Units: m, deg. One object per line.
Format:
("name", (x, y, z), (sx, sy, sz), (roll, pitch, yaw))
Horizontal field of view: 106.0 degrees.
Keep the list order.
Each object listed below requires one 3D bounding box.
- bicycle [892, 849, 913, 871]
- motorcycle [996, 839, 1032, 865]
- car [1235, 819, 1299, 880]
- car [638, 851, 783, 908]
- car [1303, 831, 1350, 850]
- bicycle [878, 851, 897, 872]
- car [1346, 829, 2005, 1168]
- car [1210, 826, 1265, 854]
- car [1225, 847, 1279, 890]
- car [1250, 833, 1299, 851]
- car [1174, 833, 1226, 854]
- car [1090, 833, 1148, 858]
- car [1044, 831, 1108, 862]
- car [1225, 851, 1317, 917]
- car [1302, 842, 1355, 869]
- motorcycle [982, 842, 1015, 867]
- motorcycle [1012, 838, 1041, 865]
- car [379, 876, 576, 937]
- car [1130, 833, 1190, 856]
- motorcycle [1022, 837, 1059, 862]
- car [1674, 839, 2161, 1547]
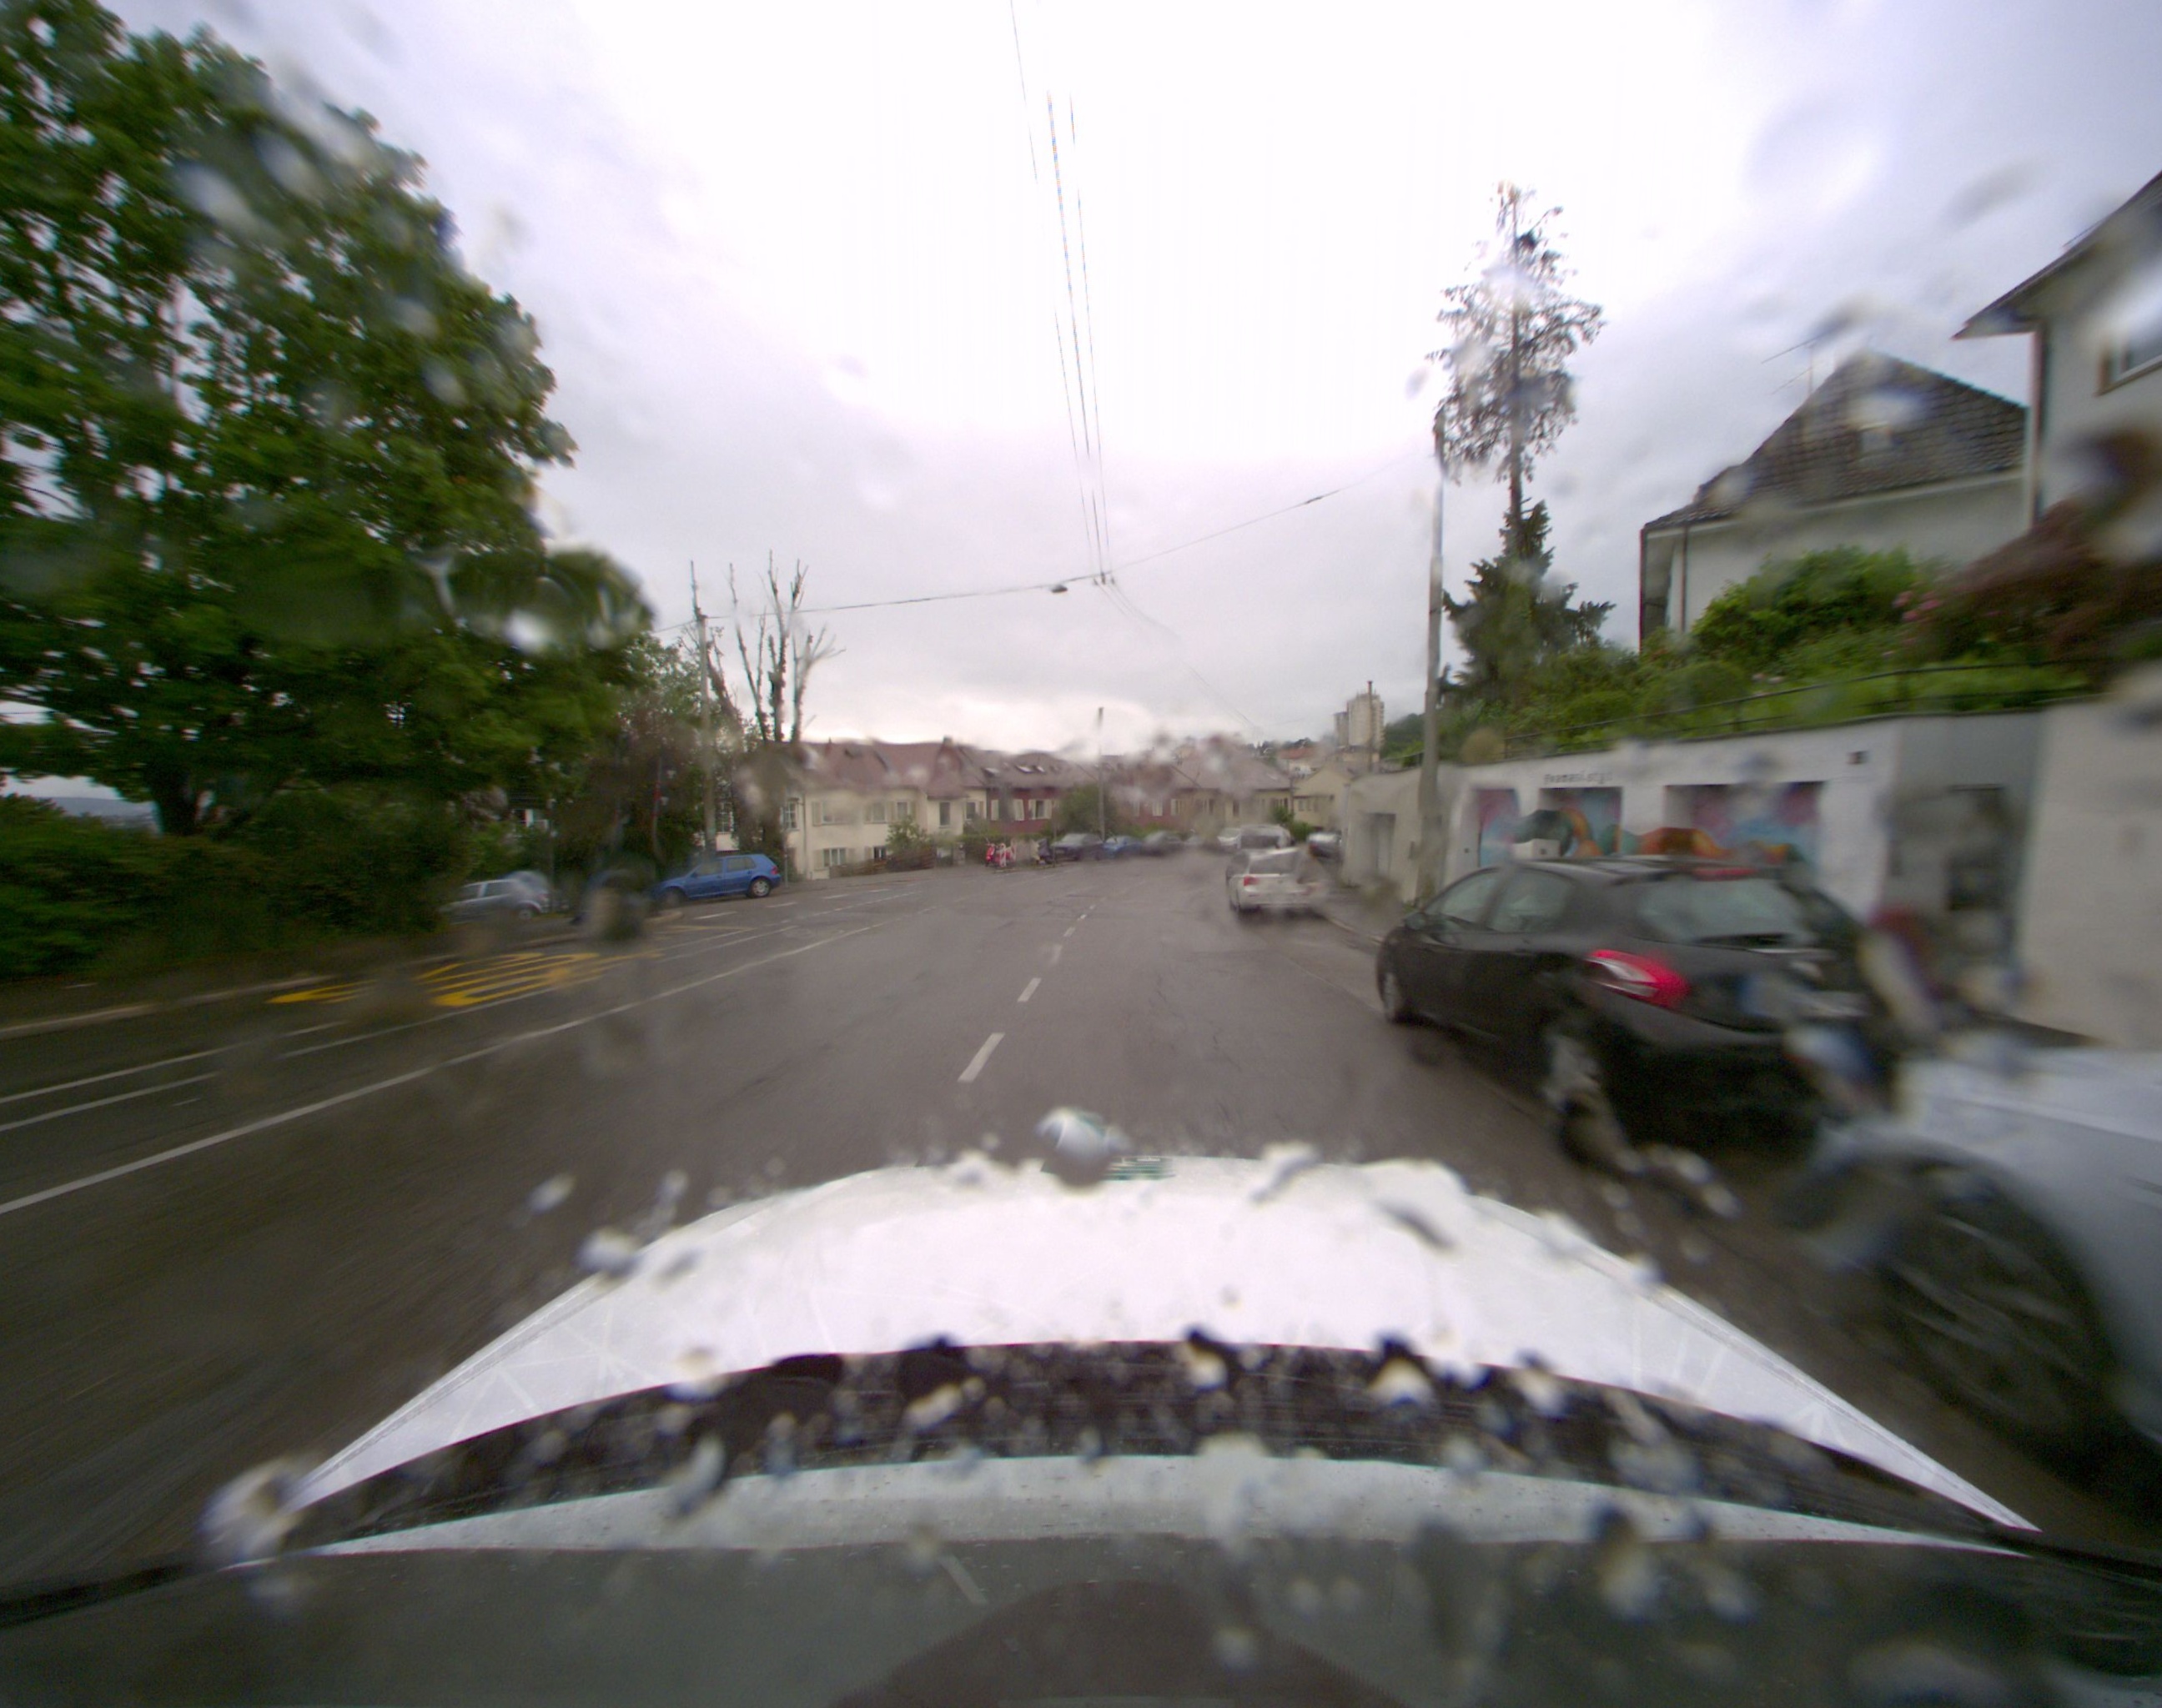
("bicycle", (-9.024, 0.312, 41.175), (1.287, 1.035, 0.307), (-4, -4, 42))
("motorcycle", (-3.412, -0.115, 41.526), (1.785, 1.279, 0.514), (2, 3, 25))
("car", (8.489, -0.197, 36.839), (2.081, 2.542, 5.648), (0, 0, 20))
("car", (-11.666, 0.783, 25.727), (3.956, 1.666, 1.823), (0, -1, -33))
("car", (22.758, -1.202, 75.457), (4.703, 1.630, 1.913), (0, 3, -42))
("bicycle", (-10.007, 0.387, 42.163), (1.311, 1.035, 0.307), (-4, -4, 44))
("car", (3.368, 0.656, 5.716), (1.708, 1.513, 4.000), (-1, 0, 0))
("car", (12.676, -1.151, 65.743), (1.831, 2.078, 5.051), (5, 4, 44))
("car", (6.646, 0.487, 31.413), (1.740, 1.495, 4.202), (0, 1, 16))
("car", (16.654, -1.029, 69.977), (4.547, 1.476, 1.793), (0, 4, -43))
("car", (8.986, -0.801, 61.181), (1.791, 1.476, 4.551), (4, 3, 38))
("car", (2.497, -0.557, 52.157), (1.683, 1.404, 4.501), (4, 4, 31))
("car", (-0.220, -0.480, 47.623), (1.904, 1.576, 4.414), (4, 3, 26))
("car", (4.442, 0.650, 19.547), (1.696, 1.414, 4.049), (0, 0, 6))
("car", (15.251, 0.061, 50.111), (1.662, 1.483, 4.228), (4, 3, 38))
("motorcycle", (-4.041, 0.020, 39.942), (0.504, 1.140, 1.934), (0, 2, 32))
("motorcycle", (-2.859, -0.154, 42.397), (0.616, 1.303, 1.788), (0, 4, -37))
("car", (-16.969, 1.439, 23.129), (4.075, 1.494, 1.832), (-1, 0, -15))
("car", (5.559, -0.660, 56.702), (1.791, 1.476, 4.550), (4, 4, 40))
("motorcycle", (-2.174, -0.247, 43.841), (1.898, 1.271, 0.574), (2, 3, -7))
("car", (3.017, 0.674, 0.822), (1.774, 1.420, 4.434), (-2, 0, 3))
